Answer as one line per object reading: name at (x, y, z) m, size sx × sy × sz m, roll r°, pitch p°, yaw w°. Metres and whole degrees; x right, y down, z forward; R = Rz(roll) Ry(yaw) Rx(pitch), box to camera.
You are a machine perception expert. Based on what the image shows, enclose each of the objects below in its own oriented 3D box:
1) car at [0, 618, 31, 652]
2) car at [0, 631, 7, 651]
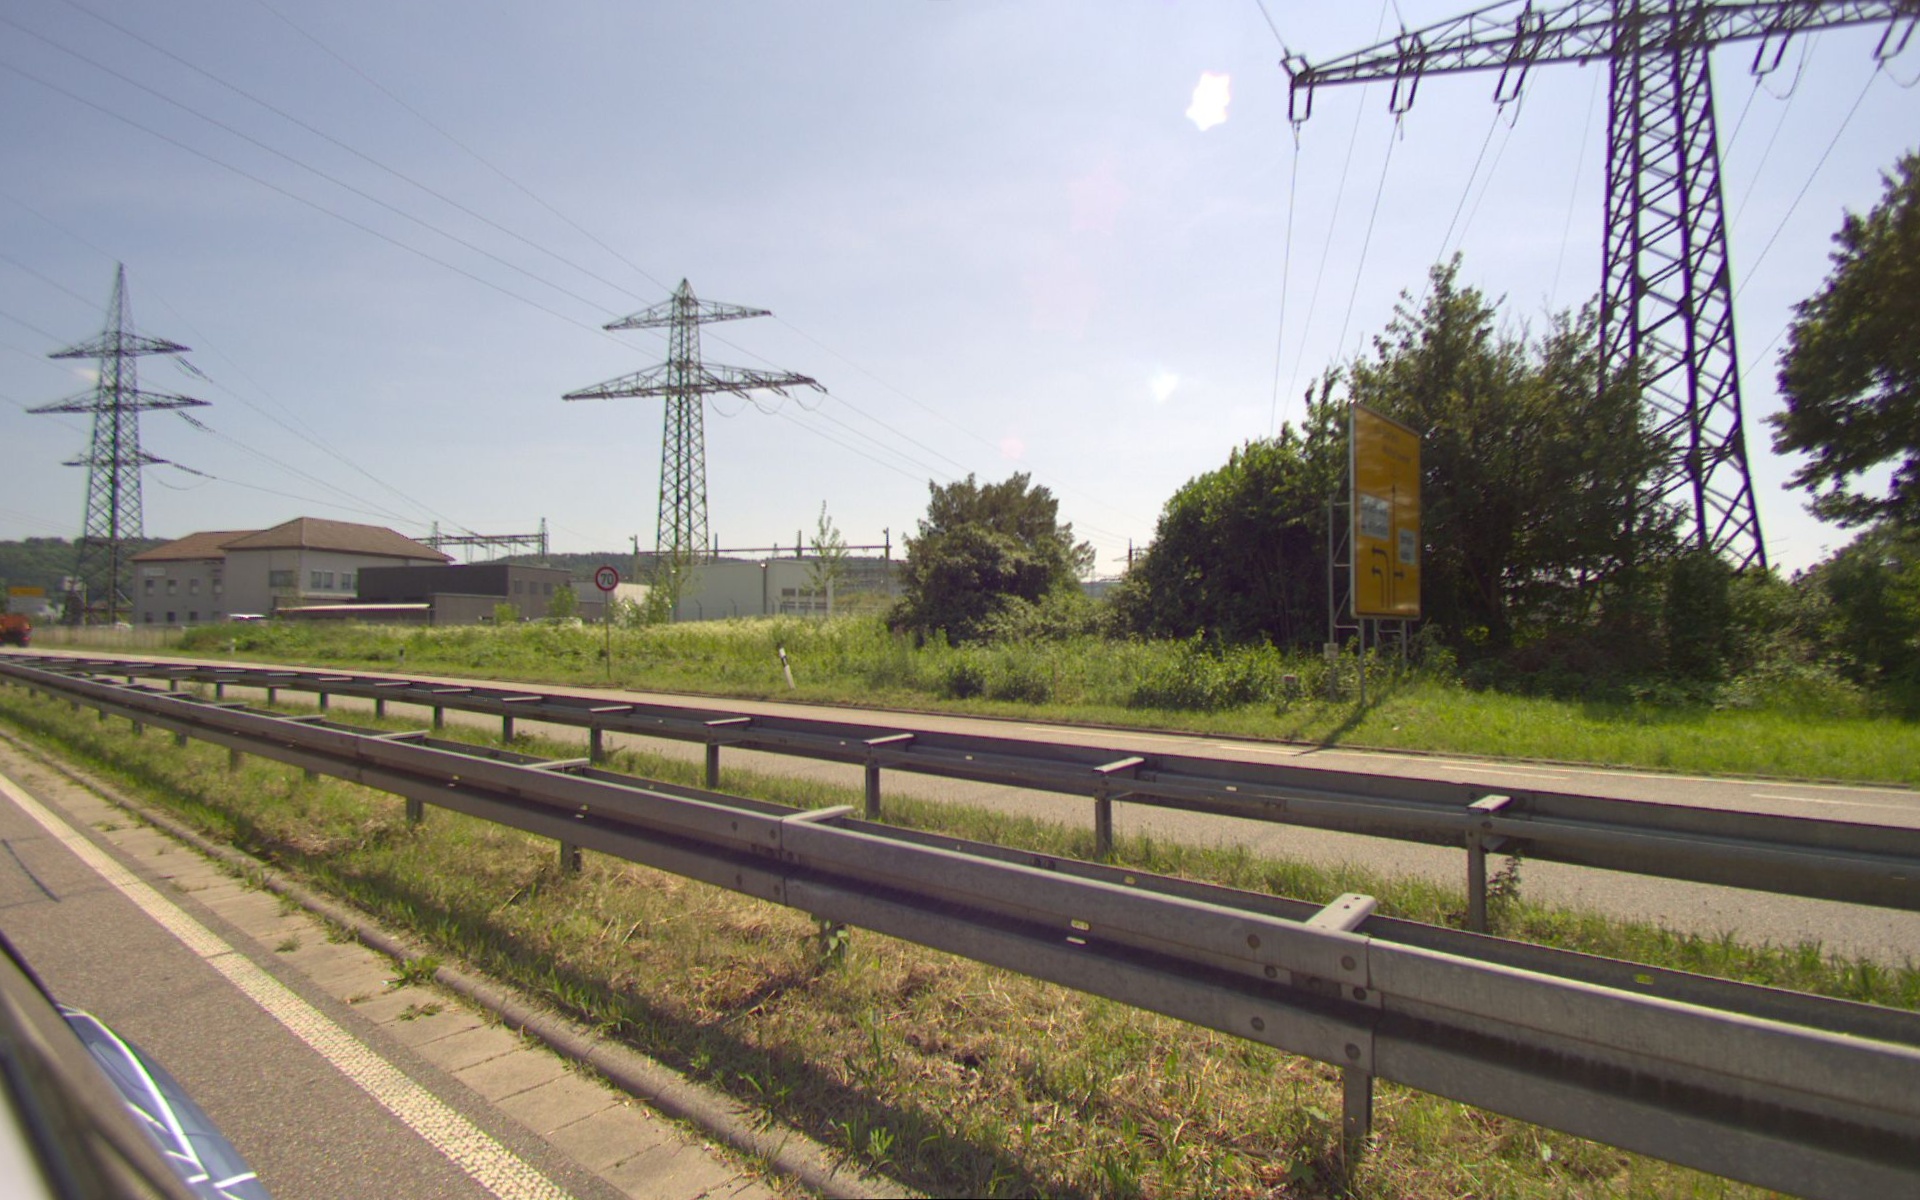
car at (-87.794, 3.242, 93.210) m, size 5.634 × 3.084 × 2.574 m, roll -2°, pitch -3°, yaw 40°
car at (-95.409, 4.024, 99.399) m, size 3.993 × 1.929 × 1.975 m, roll 0°, pitch 0°, yaw 37°
